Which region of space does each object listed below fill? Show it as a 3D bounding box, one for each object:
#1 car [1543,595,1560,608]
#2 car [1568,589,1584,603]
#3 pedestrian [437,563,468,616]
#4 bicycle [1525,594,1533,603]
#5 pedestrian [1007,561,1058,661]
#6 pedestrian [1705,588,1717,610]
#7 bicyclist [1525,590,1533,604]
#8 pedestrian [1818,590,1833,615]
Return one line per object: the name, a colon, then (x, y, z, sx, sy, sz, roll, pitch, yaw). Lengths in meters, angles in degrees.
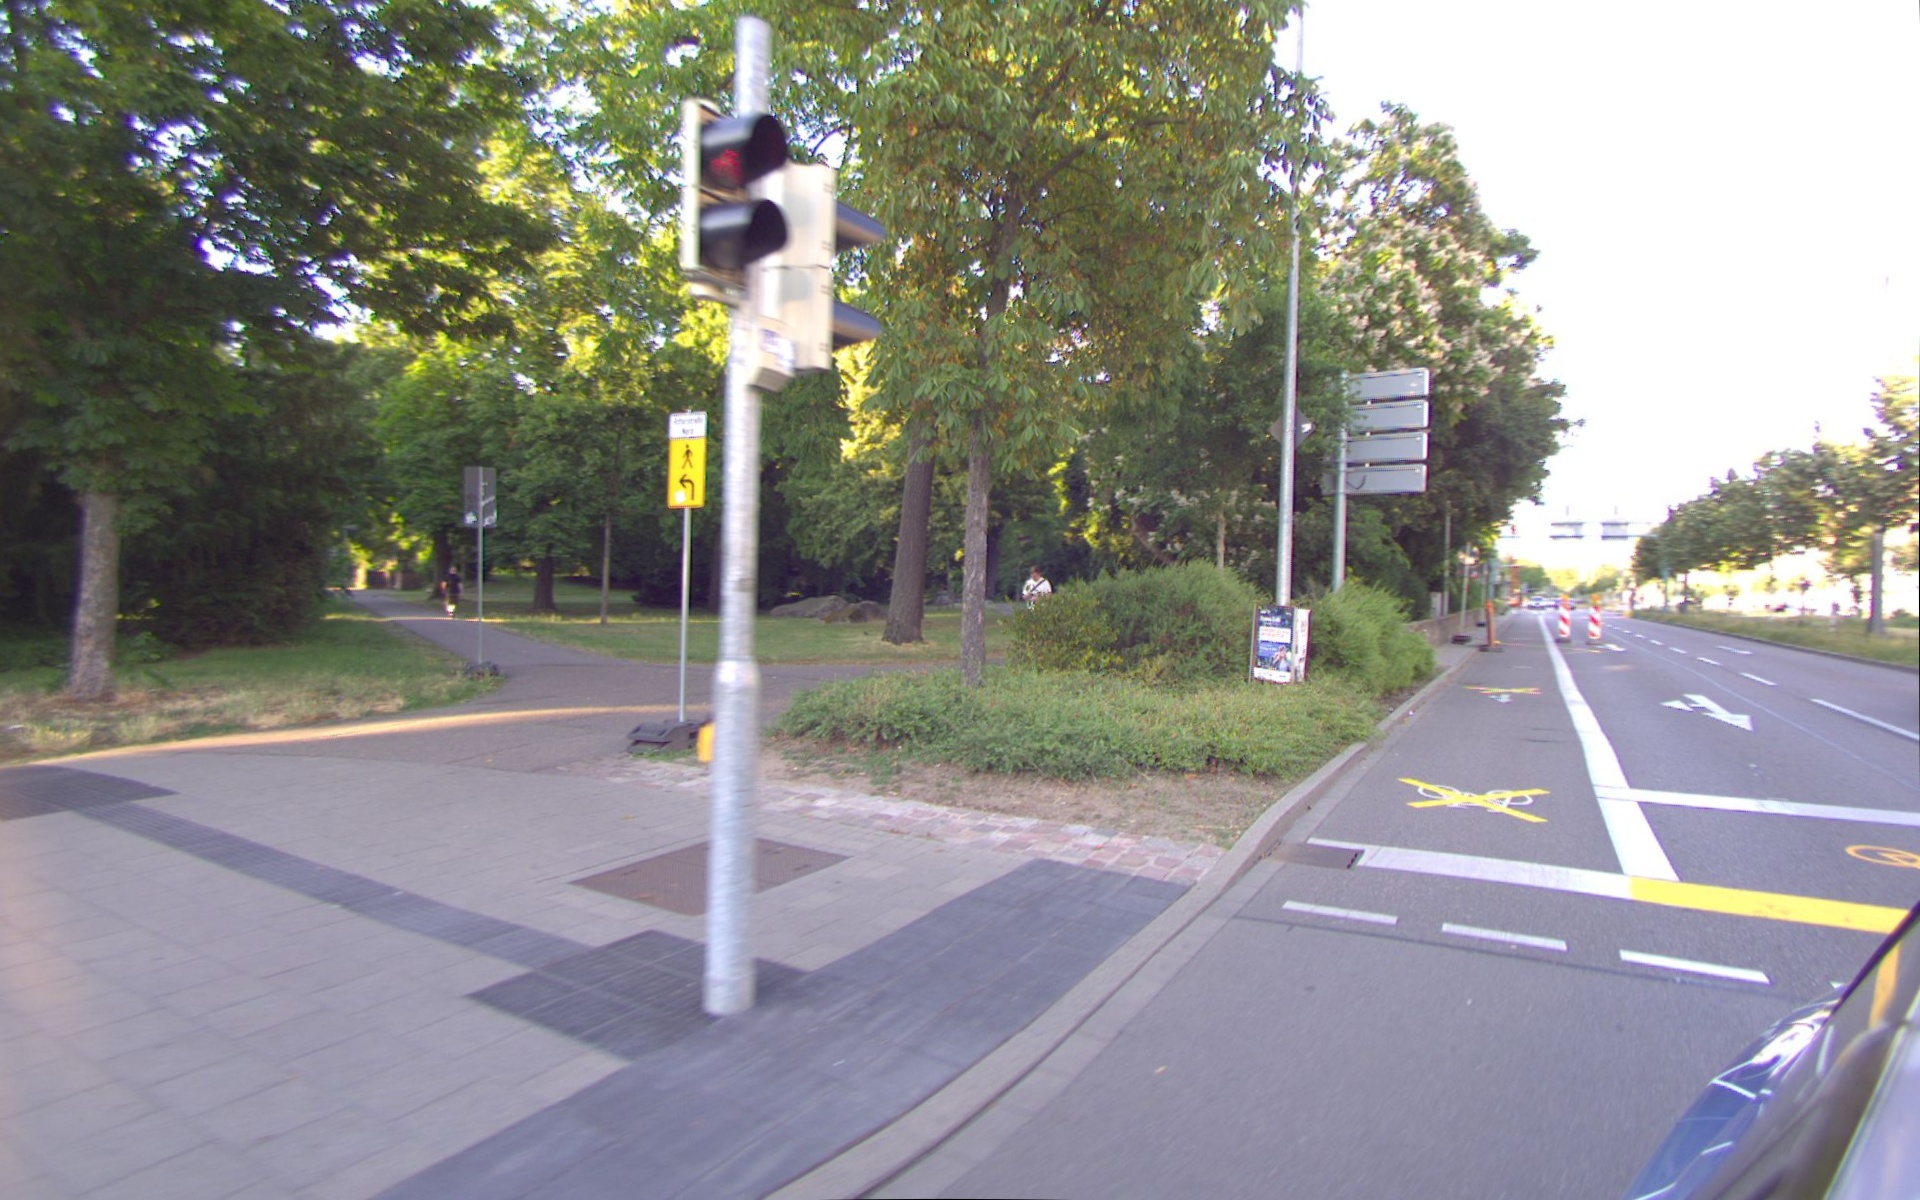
car: (74.123, 0.149, 126.779, 1.821, 1.617, 4.212, 1, 0, 32)
car: (75.040, -0.440, 123.309, 1.690, 1.617, 4.212, 1, 0, 32)
pedestrian: (-15.963, -0.338, 31.821, 0.820, 1.644, 0.818, 1, 1, -28)
bicycle: (70.813, -0.169, 125.975, 0.717, 1.064, 2.018, 1, 2, 36)
pedestrian: (1.388, 0.198, 19.313, 0.784, 1.855, 0.769, 1, 0, 18)
pedestrian: (64.896, -0.058, 87.408, 0.702, 1.859, 0.755, -1, -1, 30)
bicyclist: (70.875, -0.409, 126.094, 0.702, 1.722, 0.758, 0, 2, 38)
pedestrian: (69.341, 0.233, 81.097, 0.676, 1.949, 0.700, -4, -3, 33)
